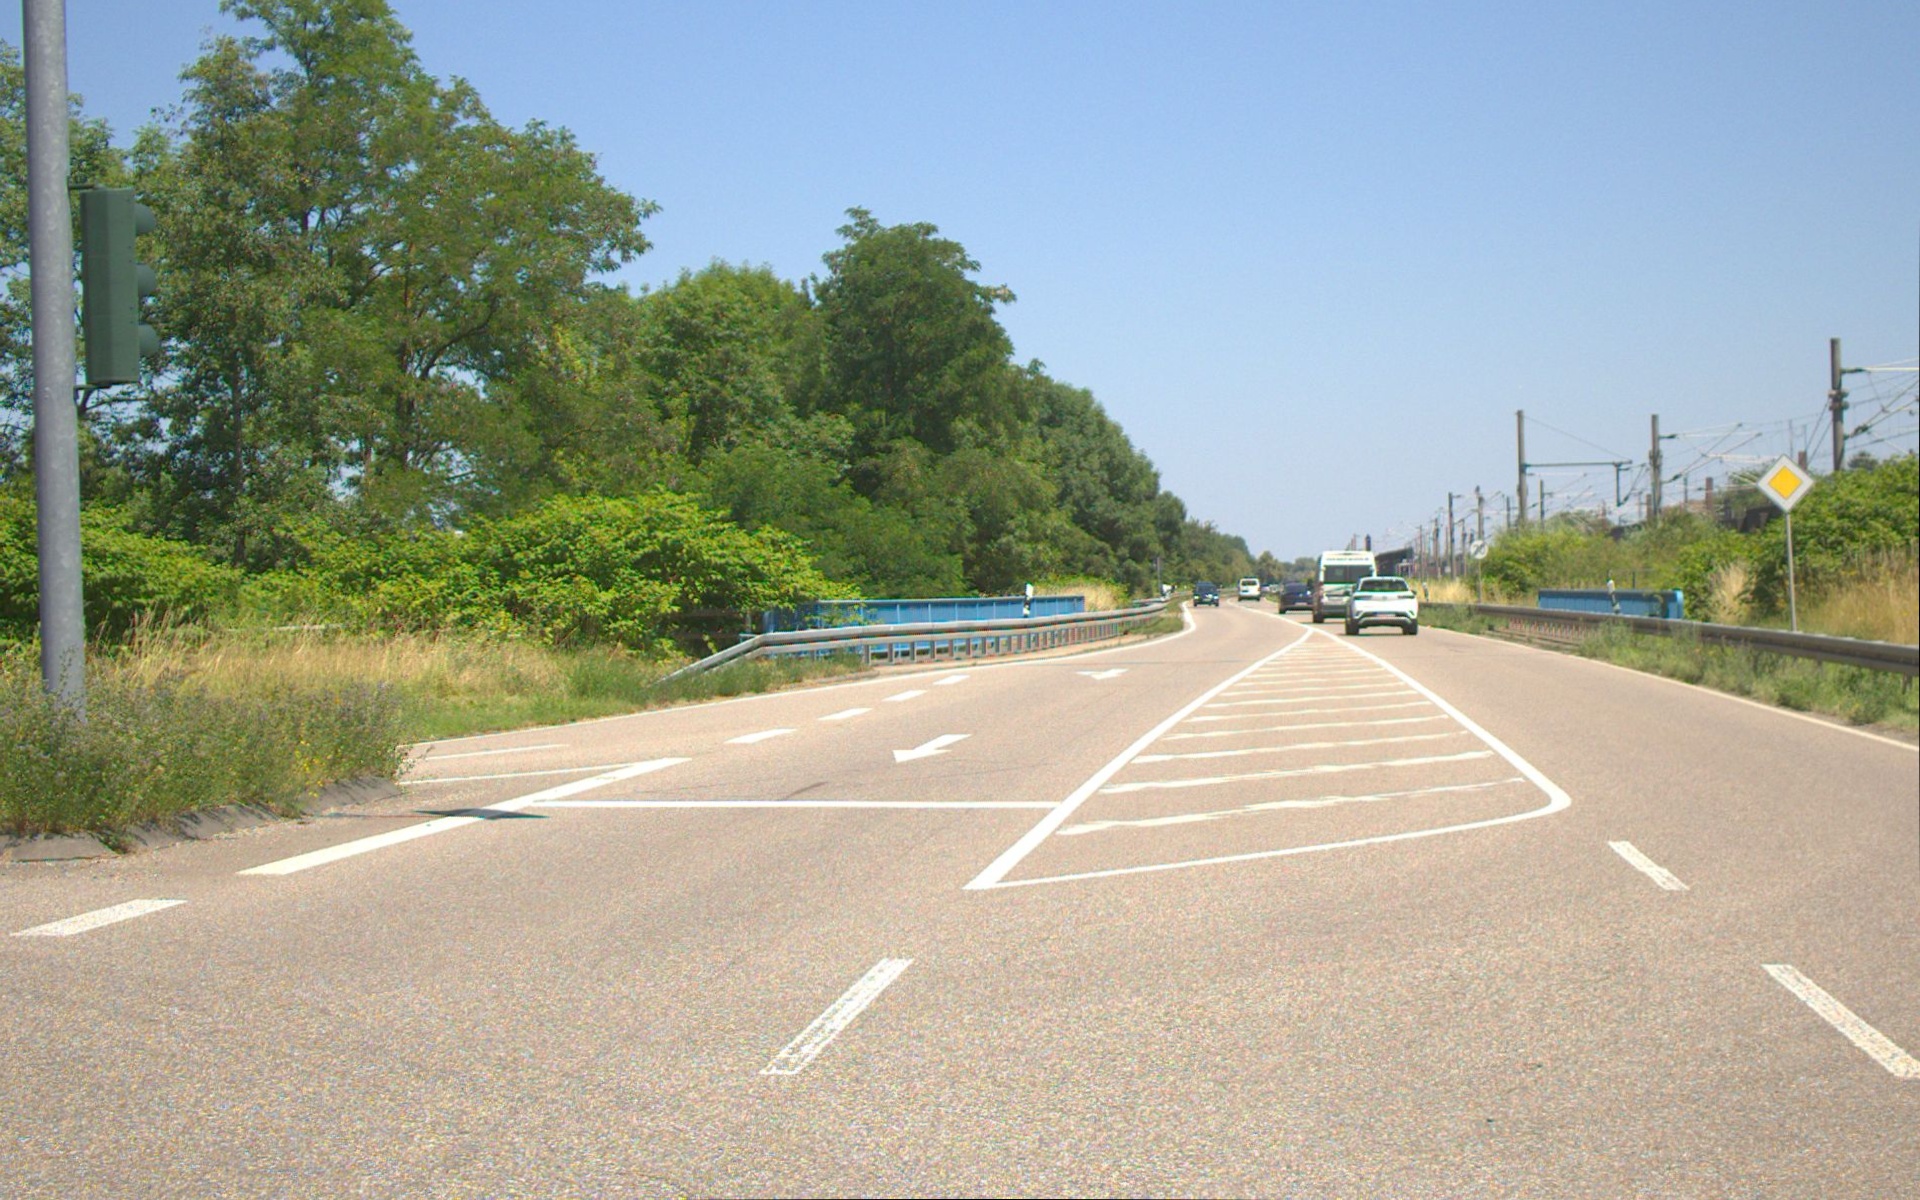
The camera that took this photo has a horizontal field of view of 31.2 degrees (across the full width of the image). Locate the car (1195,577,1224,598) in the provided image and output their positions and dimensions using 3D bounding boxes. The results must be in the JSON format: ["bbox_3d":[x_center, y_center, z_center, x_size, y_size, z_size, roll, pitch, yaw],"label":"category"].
[{"bbox_3d":[16.531,-0.820,227.661,1.857,1.375,4.502,0,1,5],"label":"car"}]

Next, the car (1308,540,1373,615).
[{"bbox_3d":[13.498,-0.826,122.305,2.189,2.595,6.749,0,1,6],"label":"car"}]

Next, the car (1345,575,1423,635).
[{"bbox_3d":[11.310,0.105,91.878,1.818,1.558,4.278,0,1,4],"label":"car"}]

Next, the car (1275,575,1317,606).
[{"bbox_3d":[15.768,-0.451,161.533,1.857,1.375,4.502,0,1,5],"label":"car"}]
